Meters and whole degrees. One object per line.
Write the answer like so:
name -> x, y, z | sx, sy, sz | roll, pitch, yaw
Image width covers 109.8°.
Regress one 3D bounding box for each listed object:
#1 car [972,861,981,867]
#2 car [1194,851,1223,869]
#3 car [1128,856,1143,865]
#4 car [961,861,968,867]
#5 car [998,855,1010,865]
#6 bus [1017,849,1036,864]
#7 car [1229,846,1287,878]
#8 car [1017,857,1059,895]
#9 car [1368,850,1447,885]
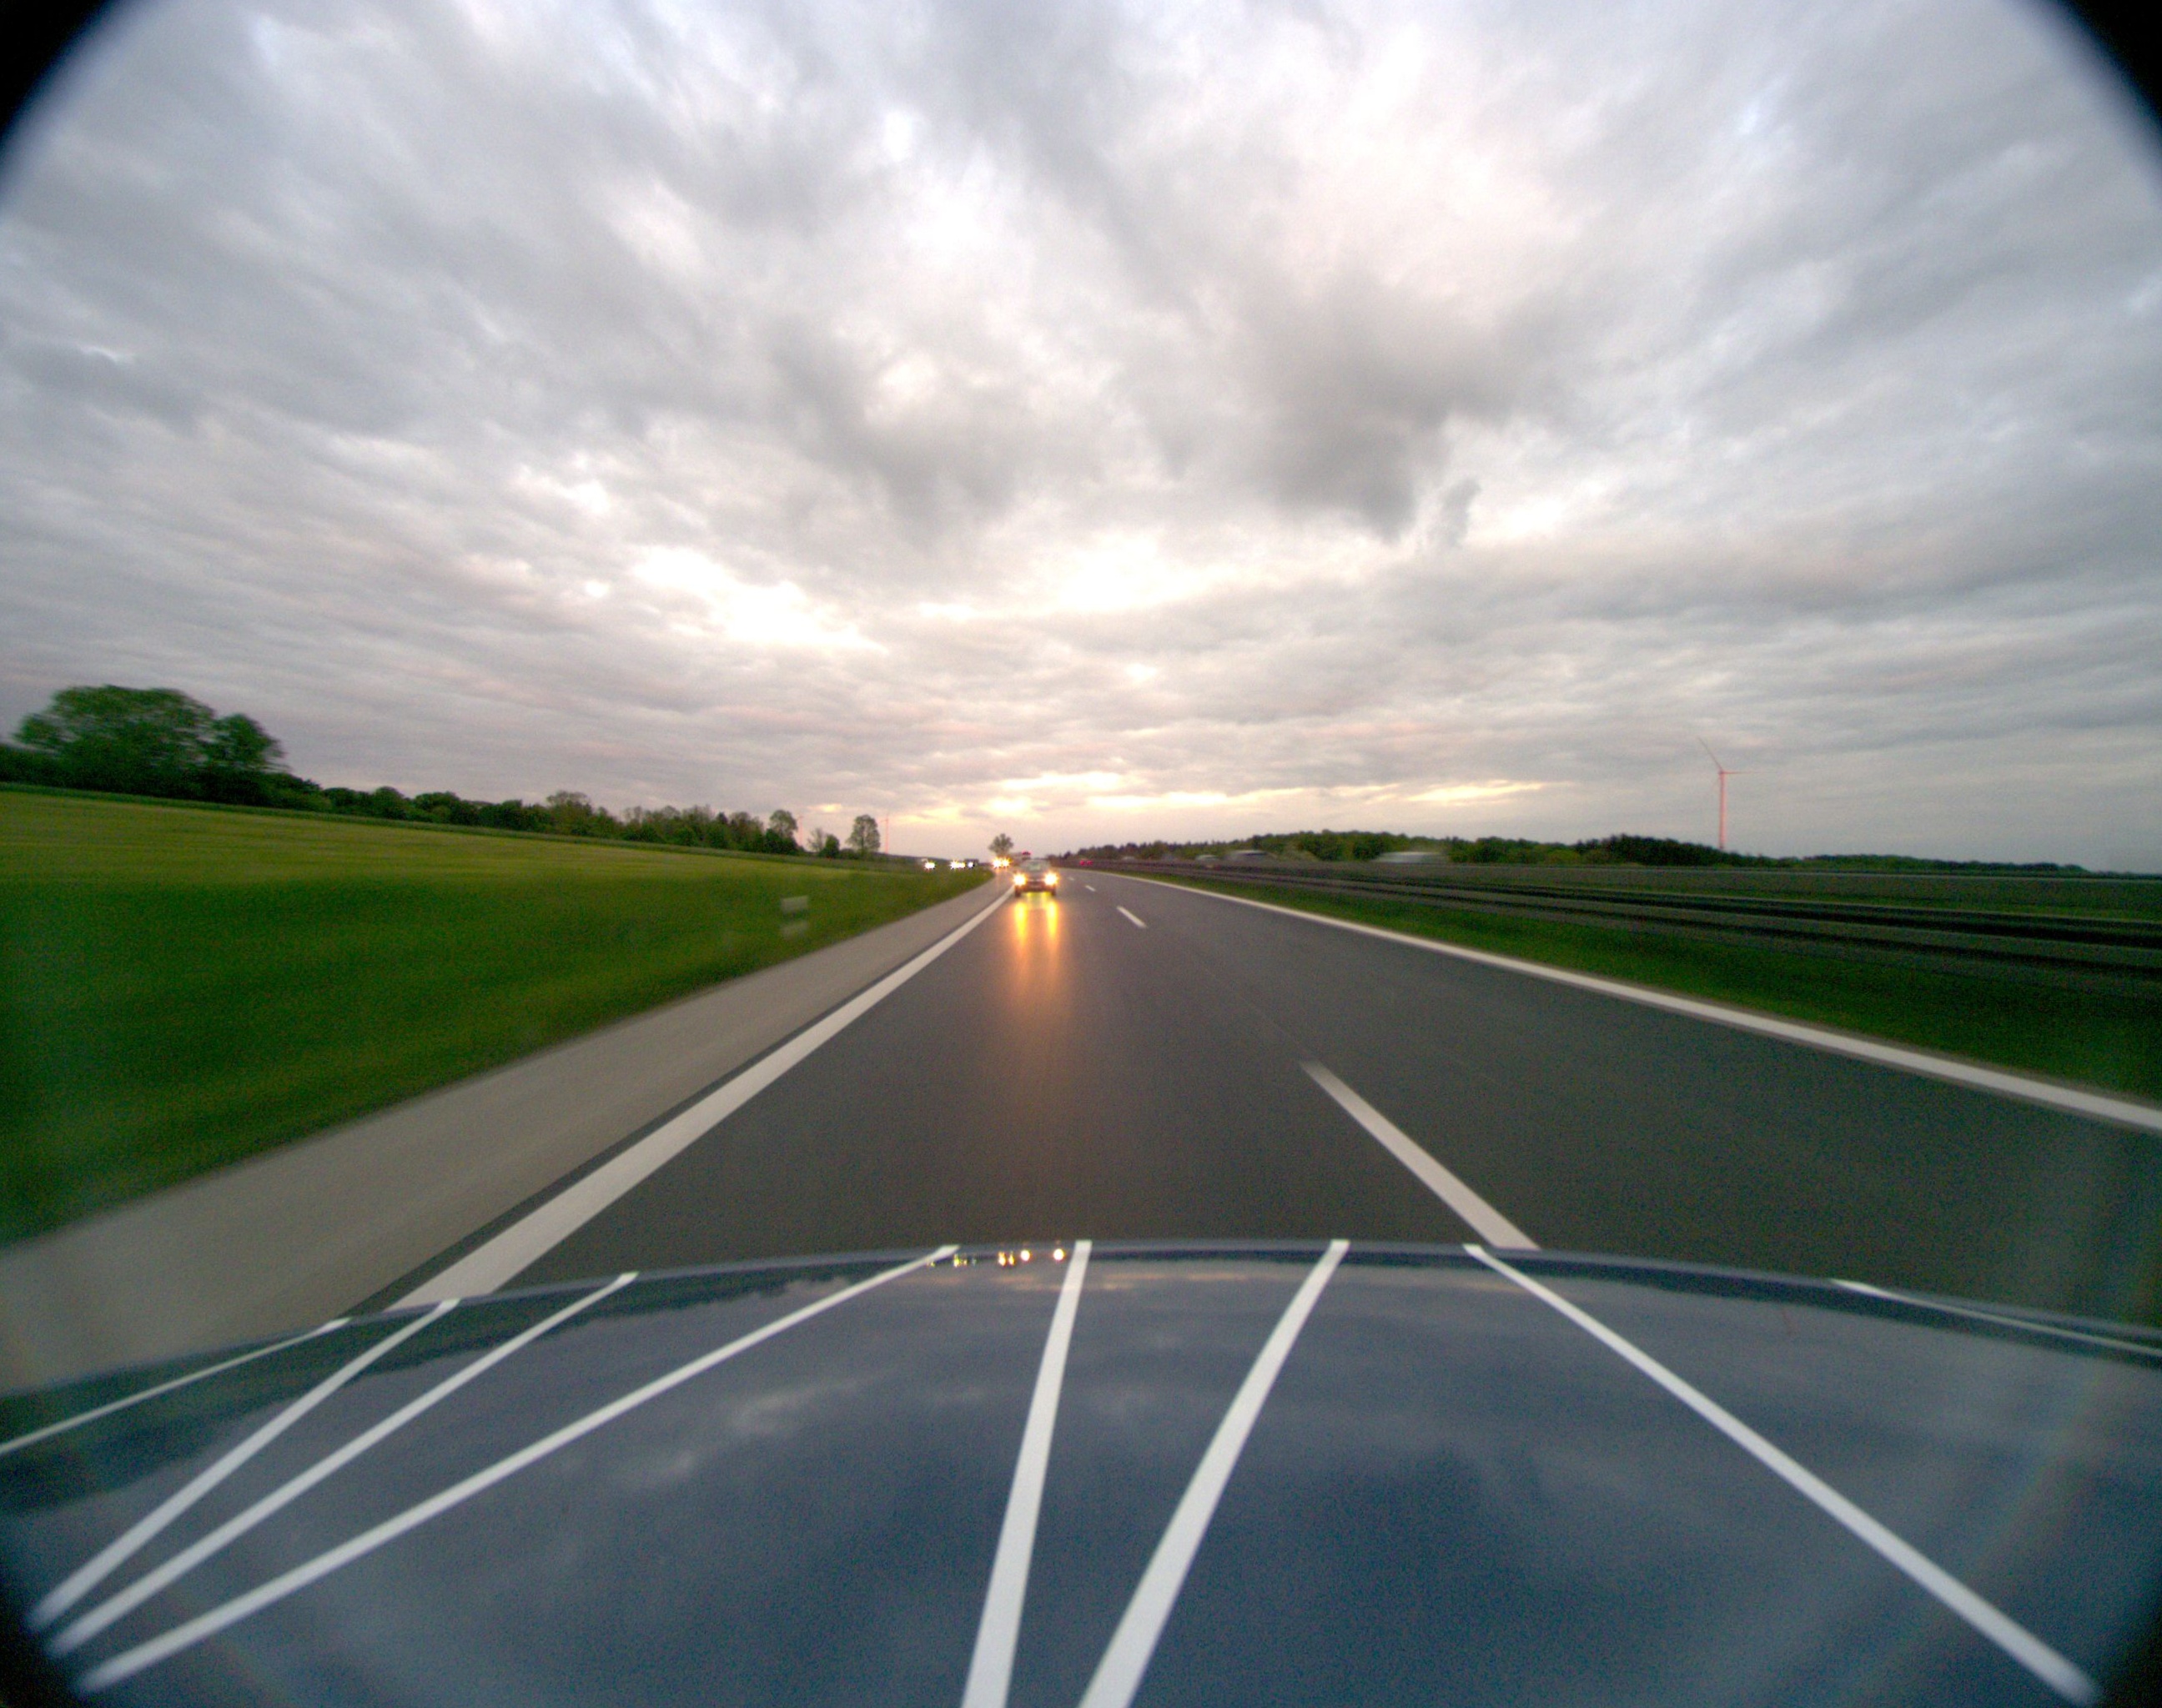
car -> -28.347, 2.661, 205.461 | 1.804, 1.635, 4.088 | -1, 0, -15
car -> 11.135, 0.541, 66.661 | 1.614, 1.475, 3.999 | 0, 0, -4
car -> 7.946, 0.897, 110.397 | 1.588, 1.280, 3.494 | 2, 0, -6
car -> -34.961, 2.991, 228.149 | 1.804, 1.635, 4.089 | -1, 0, -15
car -> -14.180, 1.130, 139.781 | 1.921, 1.827, 3.996 | 0, 0, -10
bus -> -15.950, 0.808, 220.689 | 3.177, 4.052, 14.793 | -2, 0, -13
car -> 10.219, 0.439, 44.265 | 1.999, 1.717, 4.769 | -2, 0, -3
car -> -1.847, 0.898, 32.740 | 1.682, 1.504, 3.999 | -2, 0, -3
car -> 14.236, 0.583, 33.398 | 1.658, 1.410, 4.000 | -2, -1, -1
